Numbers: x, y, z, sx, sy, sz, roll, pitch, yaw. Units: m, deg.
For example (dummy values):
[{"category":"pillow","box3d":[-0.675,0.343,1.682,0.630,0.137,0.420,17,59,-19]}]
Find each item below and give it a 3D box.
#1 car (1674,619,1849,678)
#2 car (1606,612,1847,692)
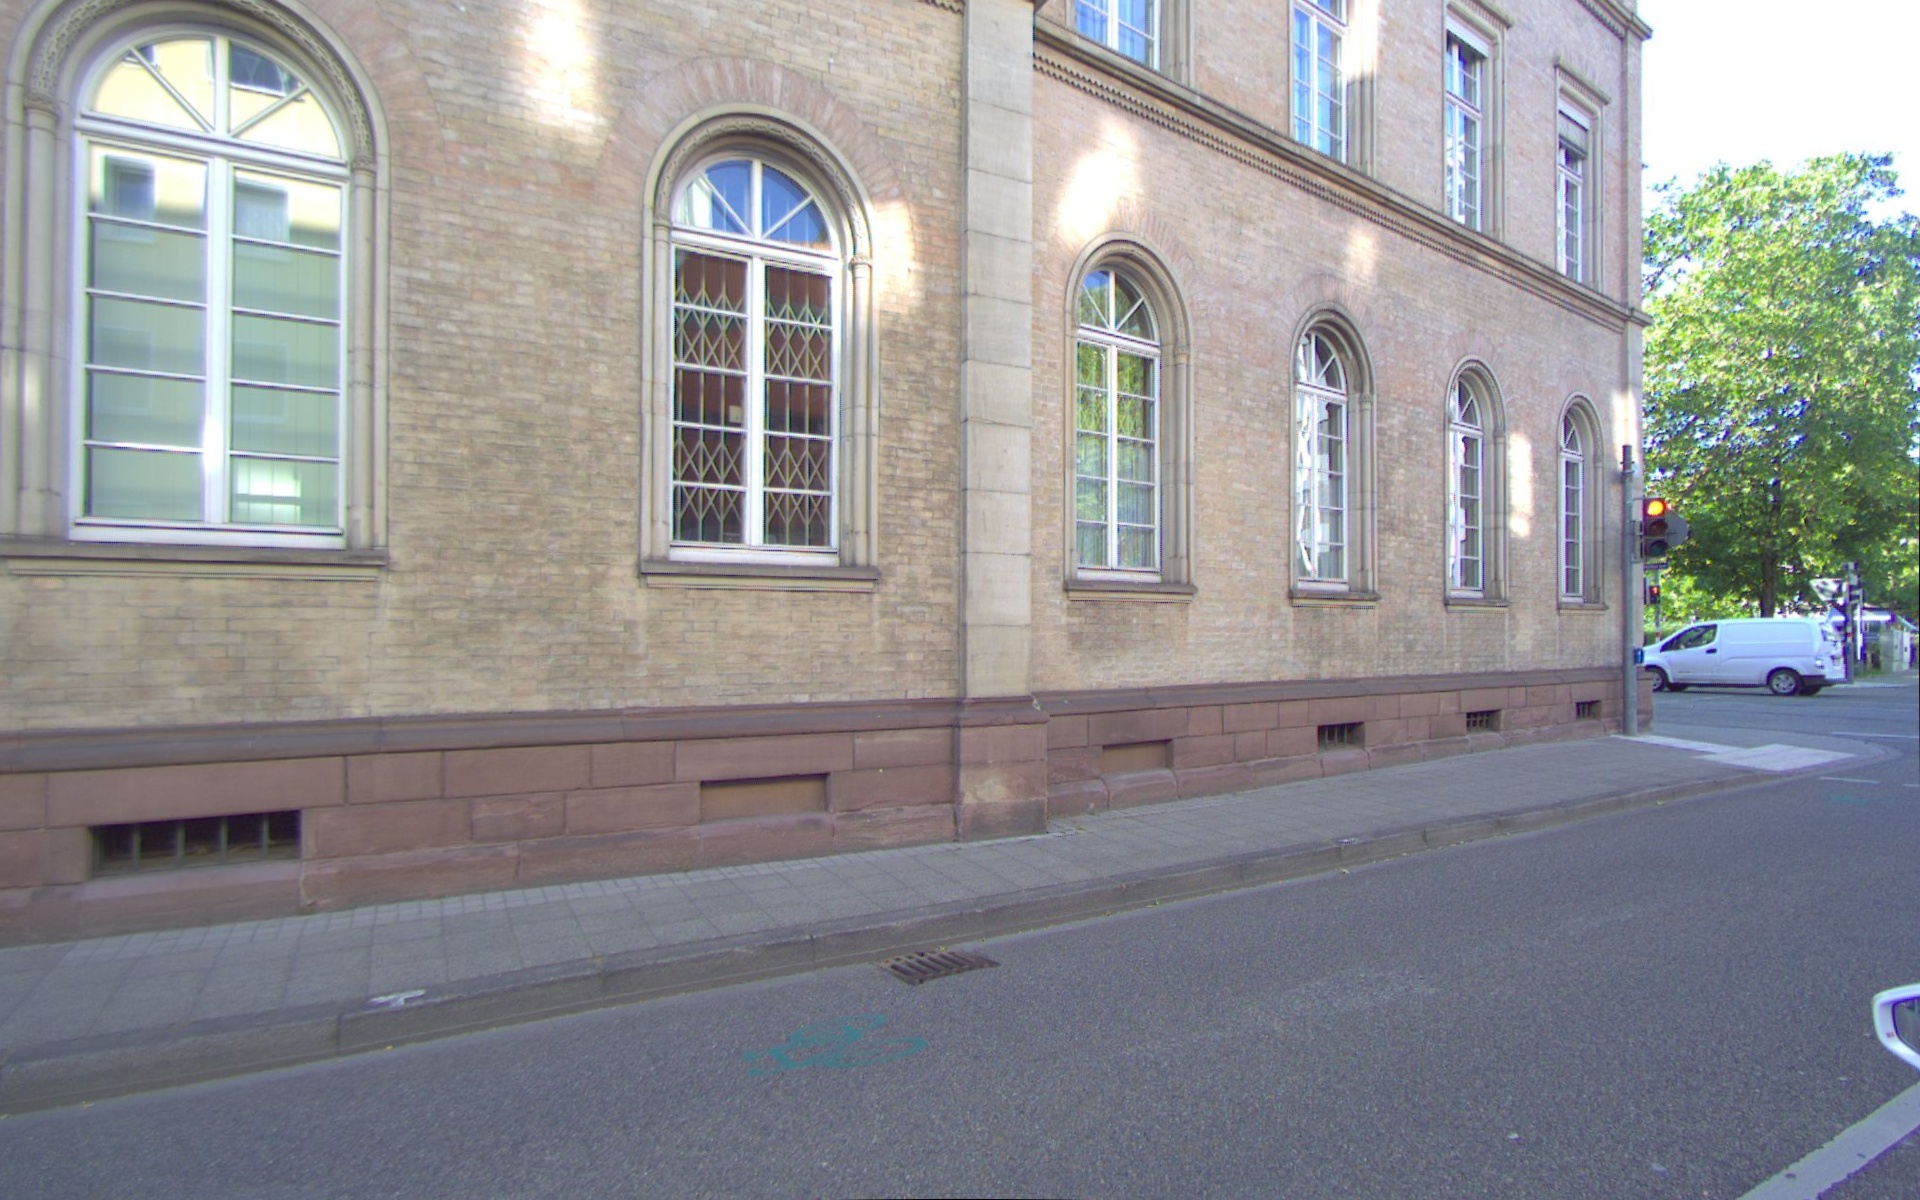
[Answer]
[{"category":"car","box3d":[26.335,1.544,33.105,1.888,1.801,4.193,1,-2,-37]},{"category":"car","box3d":[19.049,1.281,25.164,1.621,1.823,4.509,1,-3,-36]}]
